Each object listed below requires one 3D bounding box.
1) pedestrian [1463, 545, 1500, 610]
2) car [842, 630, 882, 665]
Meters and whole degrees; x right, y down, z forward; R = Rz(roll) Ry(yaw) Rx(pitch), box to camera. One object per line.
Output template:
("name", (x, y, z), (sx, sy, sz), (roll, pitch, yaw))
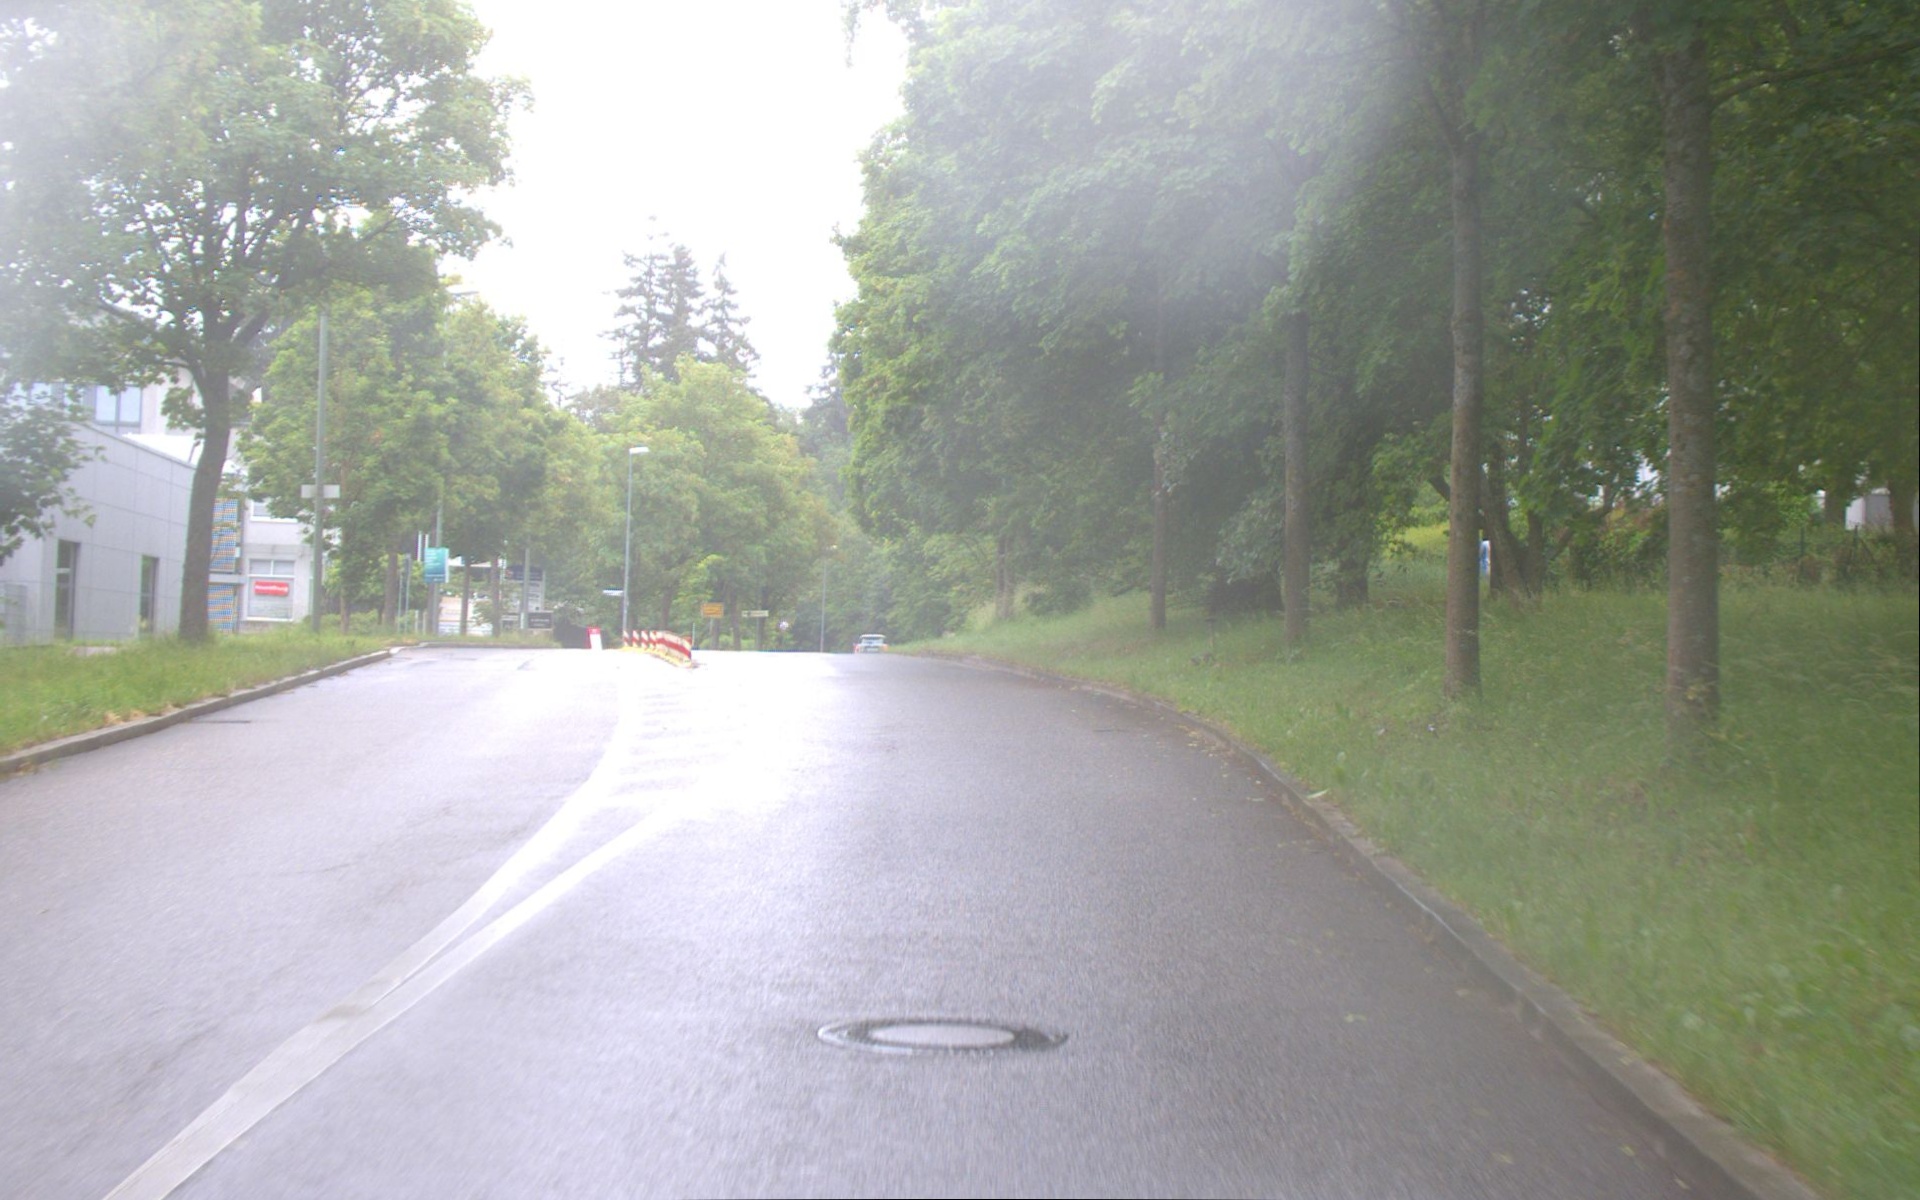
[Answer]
("pedestrian", (10.423, -0.446, 68.721), (0.654, 1.280, 0.625), (0, 0, 0))
("car", (-4.422, 2.165, 155.395), (1.736, 1.505, 4.000), (0, -2, -1))
